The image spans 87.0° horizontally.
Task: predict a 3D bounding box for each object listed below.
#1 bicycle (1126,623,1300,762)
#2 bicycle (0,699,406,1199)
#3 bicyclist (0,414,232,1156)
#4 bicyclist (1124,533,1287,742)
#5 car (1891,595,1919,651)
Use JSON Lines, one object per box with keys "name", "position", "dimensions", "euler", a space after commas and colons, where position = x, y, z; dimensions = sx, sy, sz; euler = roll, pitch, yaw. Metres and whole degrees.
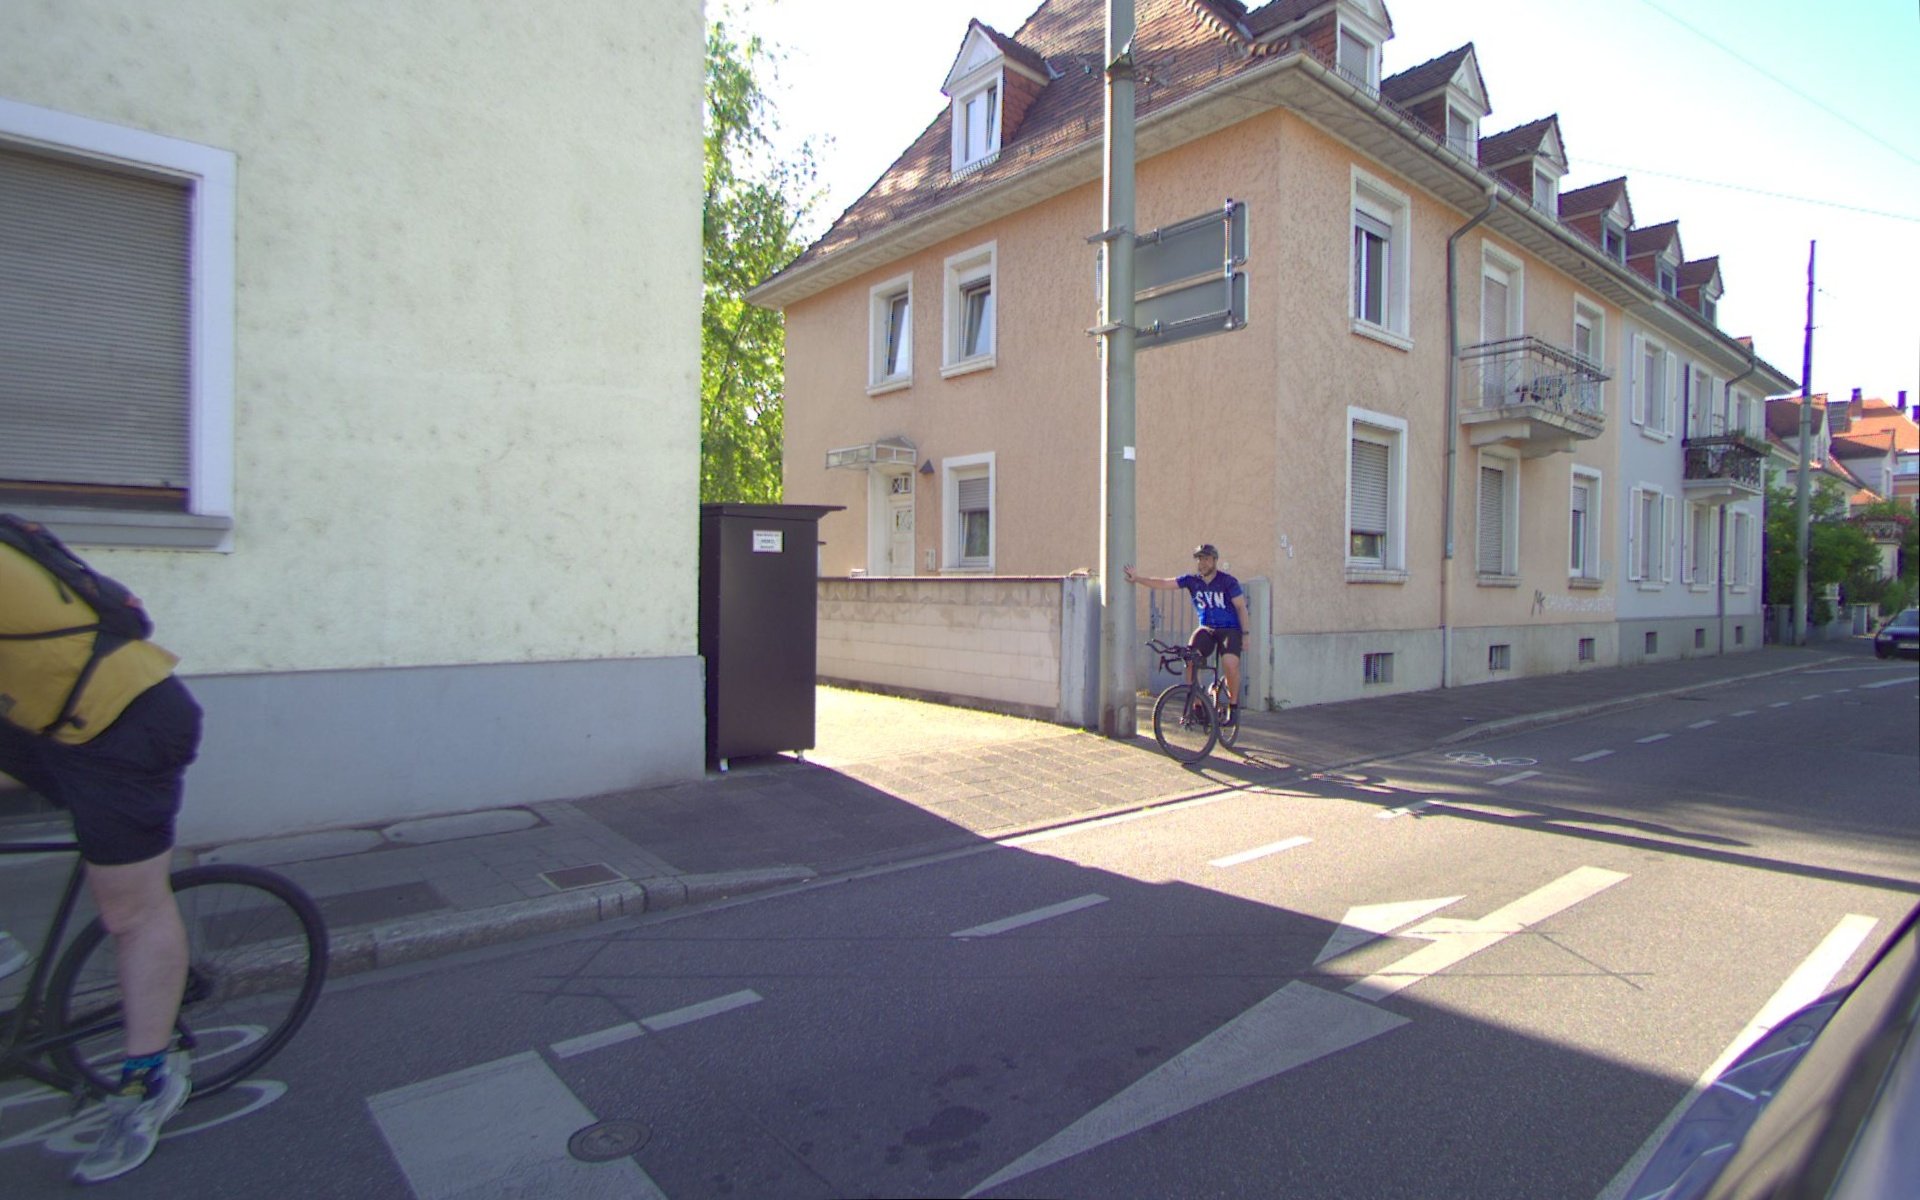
{"name": "bicycle", "position": [2.328, 0.789, 9.209], "dimensions": [1.689, 1.064, 0.595], "euler": [0, 6, -41]}
{"name": "bicycle", "position": [-2.471, 0.892, 2.572], "dimensions": [1.778, 1.101, 0.611], "euler": [0, 1, -41]}
{"name": "bicyclist", "position": [-2.461, 0.431, 2.575], "dimensions": [0.939, 1.743, 0.582], "euler": [0, 0, -41]}
{"name": "bicyclist", "position": [2.283, 0.304, 9.475], "dimensions": [0.838, 1.758, 1.072], "euler": [0, 6, -40]}
{"name": "car", "position": [26.634, 0.606, 27.324], "dimensions": [3.932, 1.438, 1.845], "euler": [0, 1, -42]}
